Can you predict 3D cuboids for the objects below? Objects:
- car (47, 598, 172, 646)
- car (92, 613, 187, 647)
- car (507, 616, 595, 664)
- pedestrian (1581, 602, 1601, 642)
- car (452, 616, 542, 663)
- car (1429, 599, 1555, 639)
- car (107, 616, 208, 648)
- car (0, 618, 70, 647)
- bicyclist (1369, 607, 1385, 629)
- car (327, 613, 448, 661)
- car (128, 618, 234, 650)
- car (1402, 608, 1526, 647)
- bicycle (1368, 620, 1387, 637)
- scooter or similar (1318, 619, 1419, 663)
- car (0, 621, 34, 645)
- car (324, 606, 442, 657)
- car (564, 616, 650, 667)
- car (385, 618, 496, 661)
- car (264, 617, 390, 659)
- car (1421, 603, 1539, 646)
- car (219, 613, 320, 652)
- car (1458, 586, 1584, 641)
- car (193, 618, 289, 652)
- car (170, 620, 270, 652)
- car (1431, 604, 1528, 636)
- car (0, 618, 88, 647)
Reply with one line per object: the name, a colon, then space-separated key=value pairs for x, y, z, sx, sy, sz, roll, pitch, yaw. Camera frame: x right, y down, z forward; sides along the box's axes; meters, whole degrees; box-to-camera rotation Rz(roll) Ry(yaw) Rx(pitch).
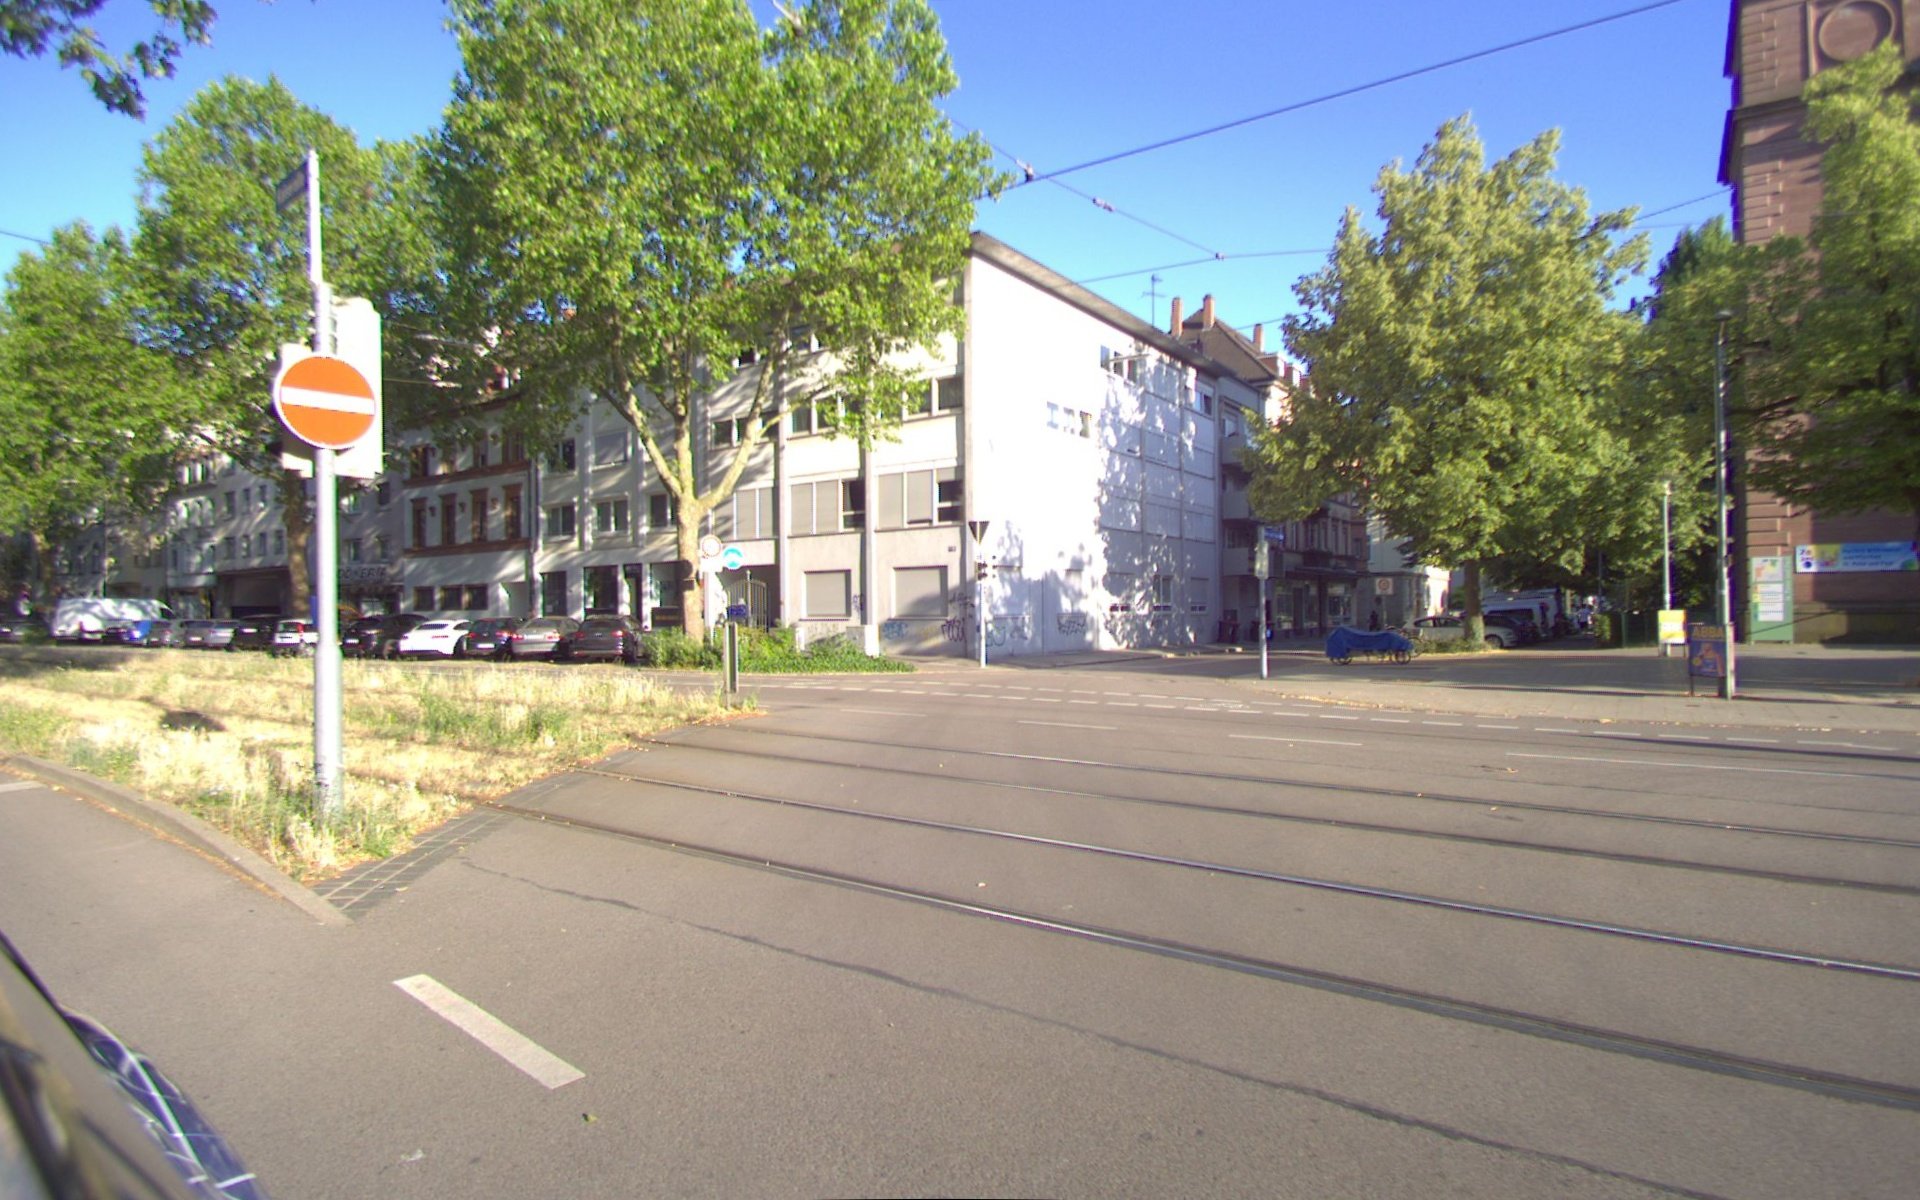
car: x=-49.960 y=1.269 z=59.627 sx=2.157 sy=2.721 sz=5.593 roll=-1 pitch=-1 yaw=11
car: x=-47.376 y=1.704 z=58.520 sx=1.977 sy=1.829 sz=3.990 roll=-1 pitch=-1 yaw=8
car: x=-13.441 y=1.269 z=33.465 sx=1.715 sy=1.443 sz=3.977 roll=-2 pitch=-1 yaw=-7
pedestrian: x=28.652 y=0.979 z=45.959 sx=0.691 sy=1.779 sz=0.730 roll=-1 pitch=-1 yaw=35
car: x=-16.102 y=1.331 z=35.394 sx=1.803 sy=1.515 sz=3.977 roll=0 pitch=-1 yaw=-7
car: x=23.532 y=0.840 z=44.841 sx=4.700 sy=1.674 sz=1.976 roll=-1 pitch=-1 yaw=36
car: x=-42.625 y=1.673 z=53.888 sx=1.977 sy=1.630 sz=3.990 roll=-1 pitch=-1 yaw=8
car: x=-62.787 y=2.168 z=68.133 sx=1.977 sy=1.829 sz=3.990 roll=-1 pitch=-1 yaw=8
bicyclist: x=25.198 y=1.076 z=61.161 sx=0.631 sy=1.341 sz=0.958 roll=-1 pitch=-1 yaw=36
car: x=-21.392 y=1.342 z=38.013 sx=2.123 sy=1.696 sz=4.256 roll=-1 pitch=-1 yaw=1
car: x=-40.035 y=1.730 z=52.142 sx=1.981 sy=1.529 sz=3.981 roll=-1 pitch=-1 yaw=15
car: x=19.317 y=1.057 z=38.848 sx=3.992 sy=1.409 sz=1.795 roll=-2 pitch=-1 yaw=36
bicycle: x=25.259 y=1.713 z=61.234 sx=0.631 sy=0.987 sz=1.965 roll=-1 pitch=-1 yaw=36
scooter or similar: x=11.646 y=1.165 z=28.880 sx=2.443 sy=1.135 sz=1.083 roll=-4 pitch=-3 yaw=36
car: x=-69.744 y=2.370 z=72.994 sx=1.977 sy=1.719 sz=3.990 roll=-1 pitch=-1 yaw=8
car: x=-23.294 y=1.241 z=41.043 sx=1.505 sy=1.958 sz=4.229 roll=-1 pitch=-1 yaw=20
car: x=-10.846 y=1.224 z=31.345 sx=1.744 sy=1.442 sz=3.977 roll=0 pitch=-1 yaw=-7
car: x=-18.531 y=1.372 z=36.344 sx=2.120 sy=1.388 sz=4.262 roll=-1 pitch=-1 yaw=-5
car: x=-25.427 y=1.488 z=40.798 sx=1.631 sy=1.569 sz=4.229 roll=-1 pitch=-1 yaw=20
car: x=20.939 y=0.973 z=40.825 sx=3.992 sy=1.630 sz=1.868 roll=-1 pitch=-1 yaw=36
car: x=-31.047 y=1.421 z=45.663 sx=1.879 sy=1.626 sz=4.260 roll=-1 pitch=-1 yaw=-3
car: x=27.125 y=0.652 z=49.002 sx=5.103 sy=2.537 sz=1.976 roll=-1 pitch=-1 yaw=36
car: x=-33.917 y=1.614 z=47.881 sx=1.580 sy=1.470 sz=4.258 roll=-1 pitch=-1 yaw=-1
car: x=-36.444 y=1.734 z=49.973 sx=1.880 sy=1.468 sz=4.258 roll=-1 pitch=-1 yaw=-1
car: x=33.732 y=1.299 z=65.779 sx=5.414 sy=2.029 sz=1.976 roll=-1 pitch=-1 yaw=36
car: x=-60.031 y=2.116 z=66.378 sx=1.977 sy=1.829 sz=3.990 roll=-1 pitch=-1 yaw=8
